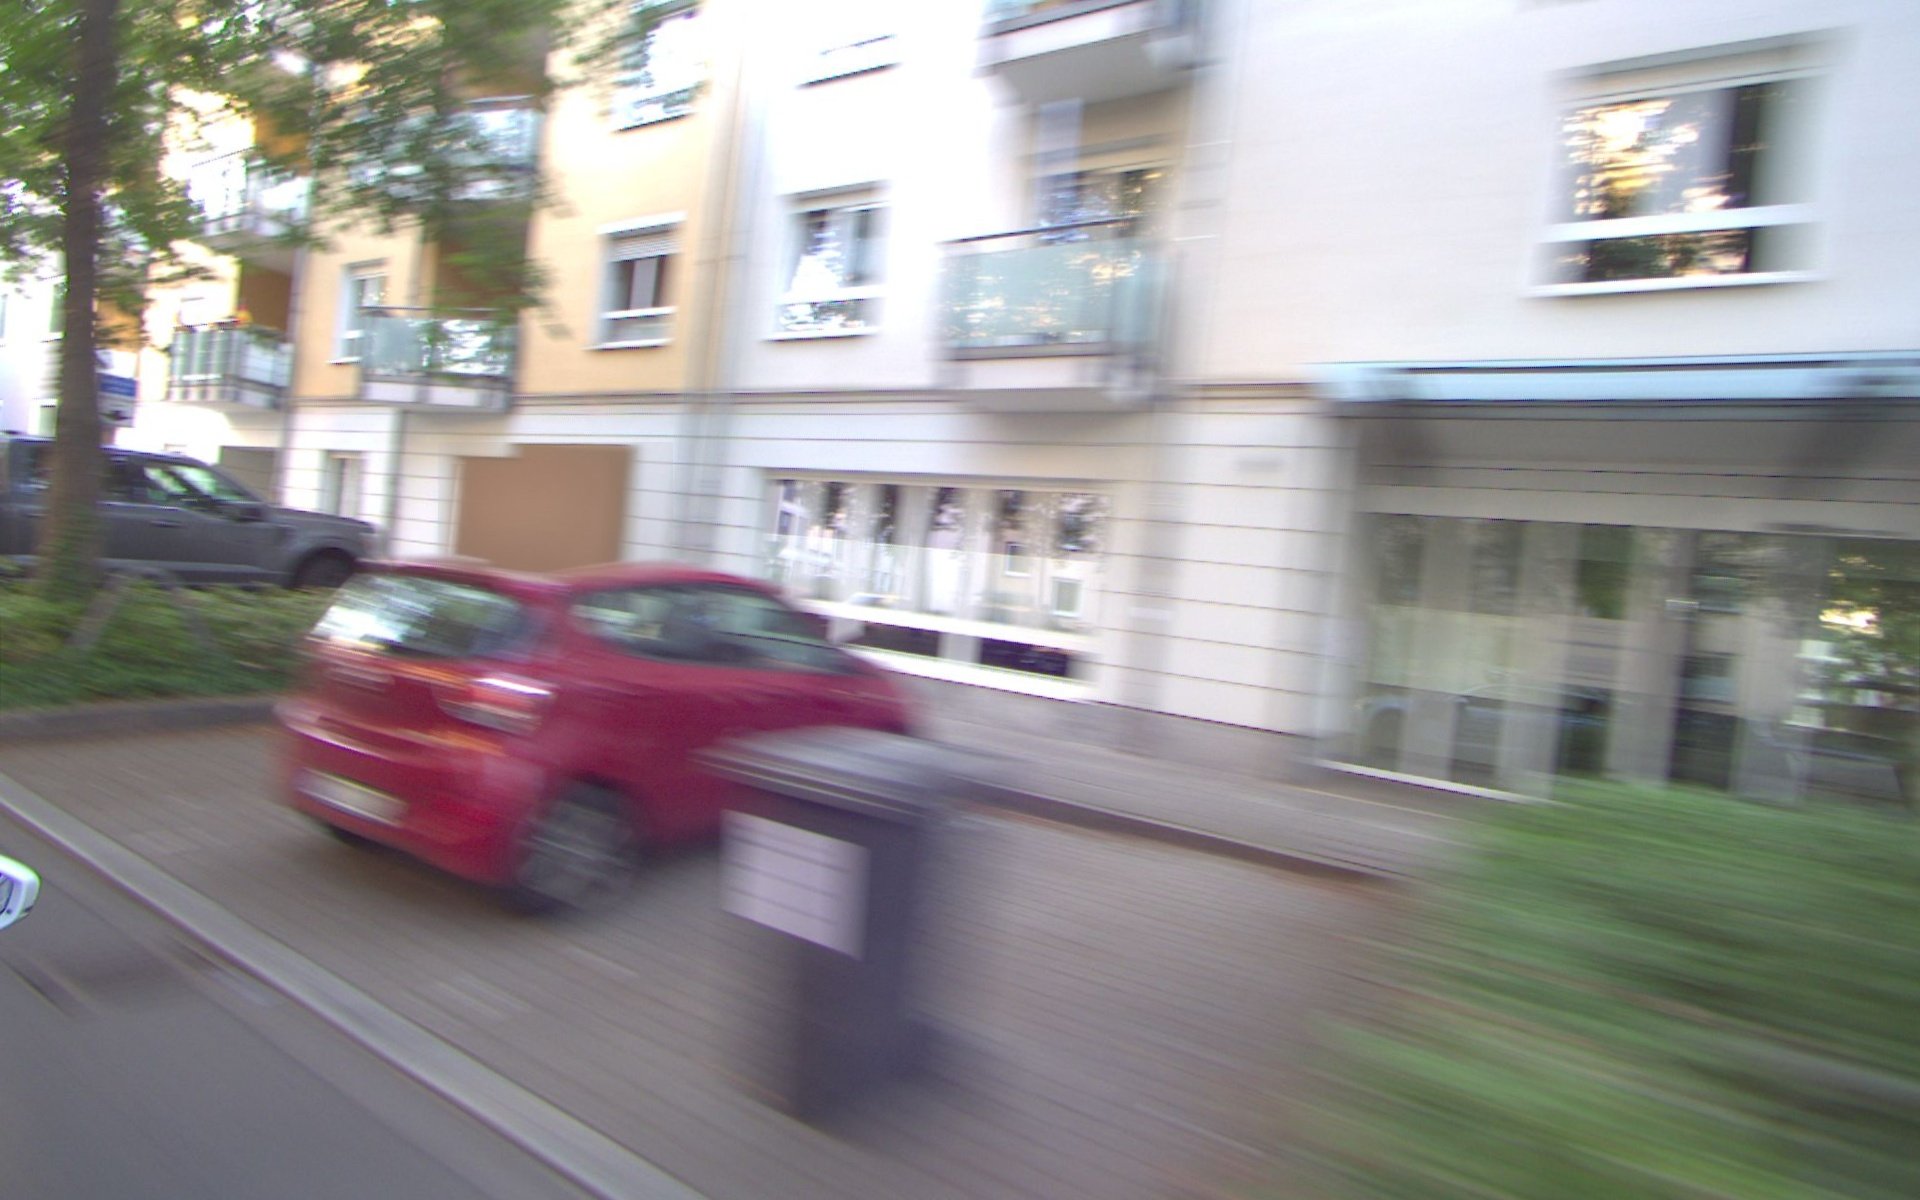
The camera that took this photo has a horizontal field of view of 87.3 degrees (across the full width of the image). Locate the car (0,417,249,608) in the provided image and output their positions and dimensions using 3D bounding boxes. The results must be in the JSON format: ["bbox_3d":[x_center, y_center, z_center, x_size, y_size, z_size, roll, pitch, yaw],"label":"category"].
[{"bbox_3d":[-11.716,-1.092,12.189,2.003,2.162,4.618,7,3,32],"label":"car"}]

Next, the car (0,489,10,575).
[{"bbox_3d":[-19.380,-1.481,17.239,1.822,1.582,4.074,7,-1,30],"label":"car"}]

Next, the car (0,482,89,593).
[{"bbox_3d":[-17.120,-1.243,15.795,1.805,1.724,4.804,7,-1,30],"label":"car"}]

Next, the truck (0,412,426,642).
[{"bbox_3d":[-9.415,-0.777,10.958,2.224,2.162,6.001,7,3,32],"label":"truck"}]

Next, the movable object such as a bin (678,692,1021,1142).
[{"bbox_3d":[-0.307,0.860,3.069,0.579,1.081,0.775,7,0,31],"label":"movable object such as a bin"}]

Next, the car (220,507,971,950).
[{"bbox_3d":[-1.646,0.451,5.670,1.751,1.569,3.665,5,2,30],"label":"car"}]
